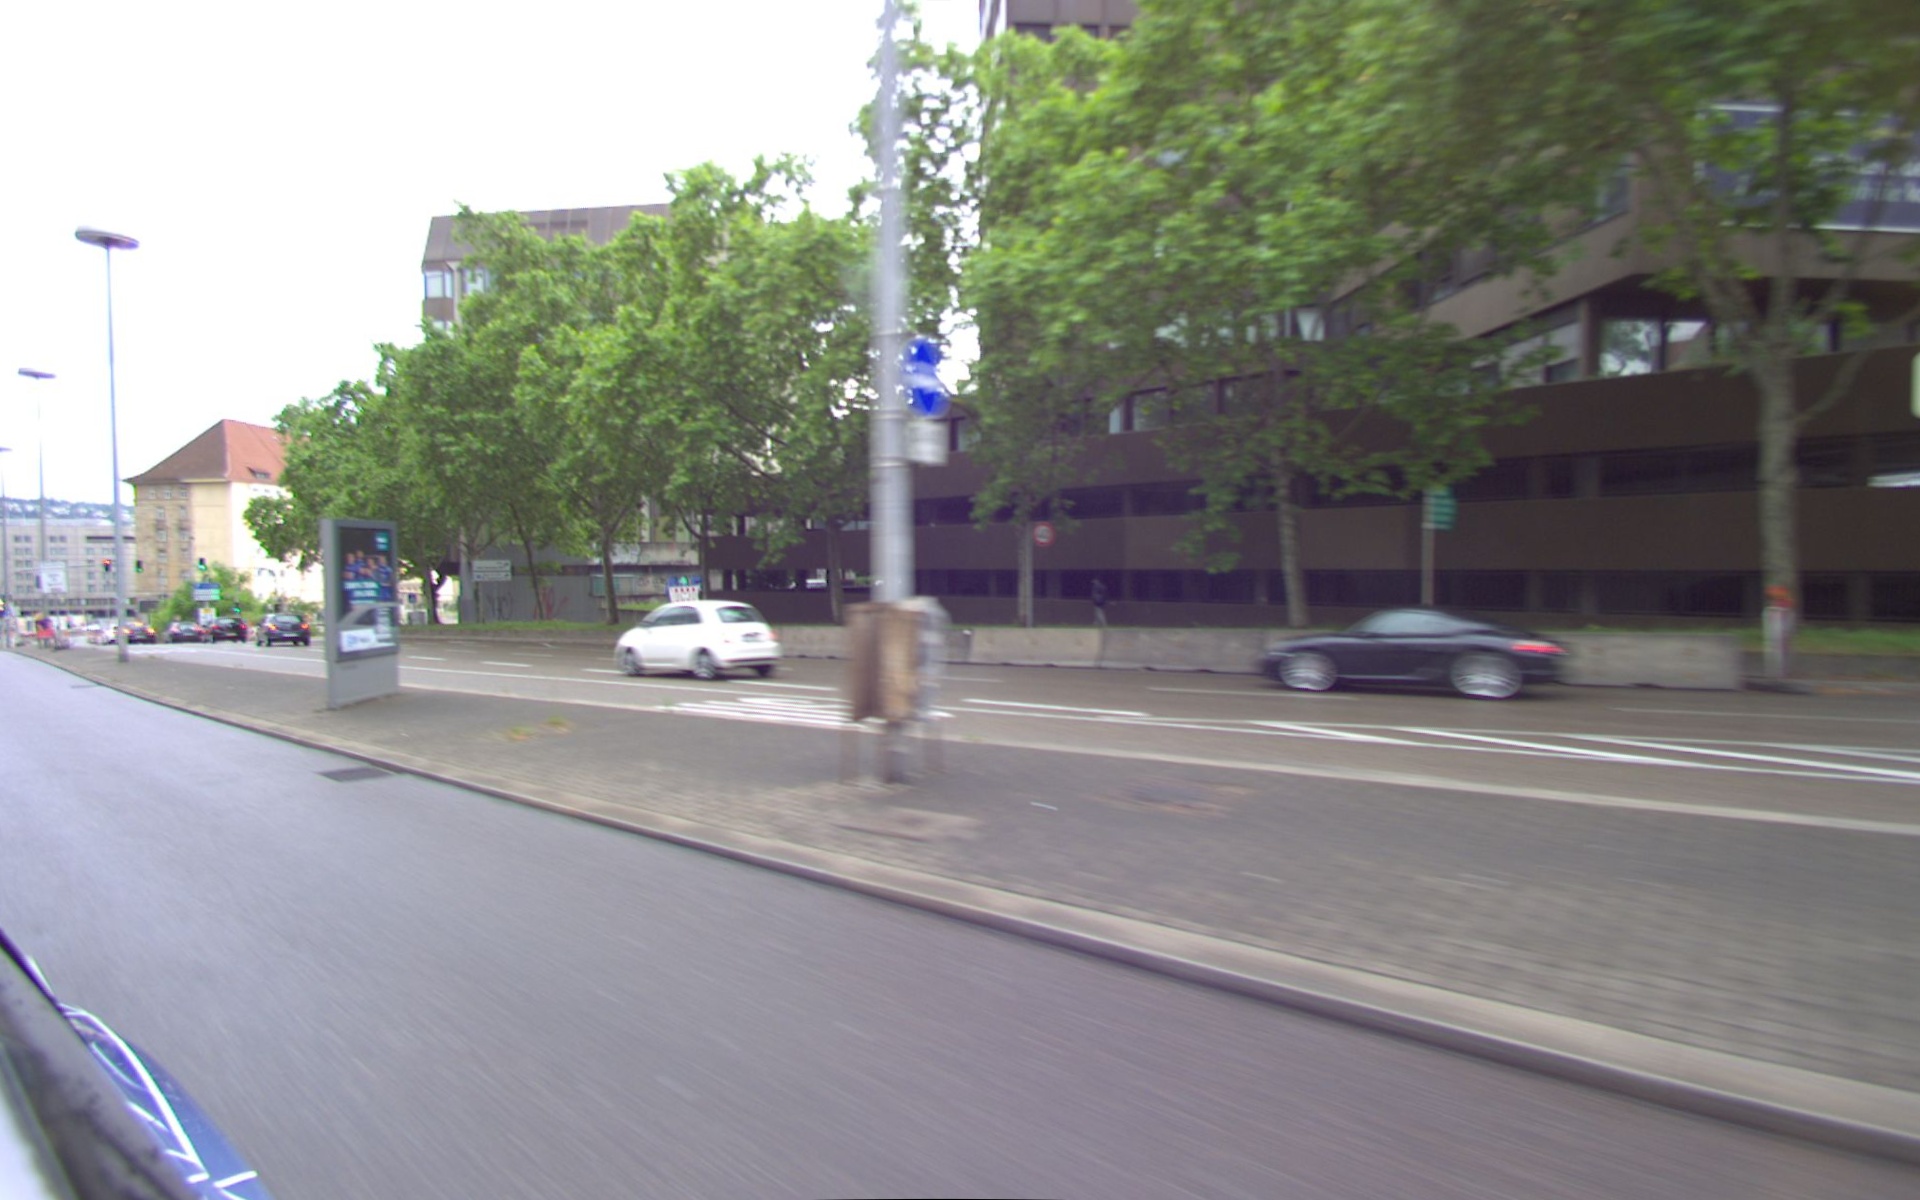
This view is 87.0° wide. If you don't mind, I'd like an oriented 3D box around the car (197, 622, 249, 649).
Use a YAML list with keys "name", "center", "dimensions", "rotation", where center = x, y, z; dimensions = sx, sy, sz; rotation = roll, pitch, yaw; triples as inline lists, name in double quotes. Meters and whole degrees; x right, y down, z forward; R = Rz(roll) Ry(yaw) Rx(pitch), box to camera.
- name: "car"
  center: [-42.834, 2.038, 58.777]
  dimensions: [1.911, 1.447, 4.079]
  rotation: [0, -1, -44]

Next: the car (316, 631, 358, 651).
- name: "car"
  center: [-51.114, 3.366, 83.031]
  dimensions: [4.507, 1.511, 1.912]
  rotation: [-2, -1, 44]

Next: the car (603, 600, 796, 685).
- name: "car"
  center: [-5.154, 0.783, 19.864]
  dimensions: [3.734, 1.530, 1.737]
  rotation: [-1, -1, 37]

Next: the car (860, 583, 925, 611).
- name: "car"
  center: [-4.375, -0.156, 65.242]
  dimensions: [3.997, 1.730, 1.973]
  rotation: [-1, -1, 41]

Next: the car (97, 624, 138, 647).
- name: "car"
  center: [-58.455, 2.410, 70.205]
  dimensions: [3.865, 1.497, 1.774]
  rotation: [-1, -1, 44]

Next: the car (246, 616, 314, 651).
- name: "car"
  center: [-31.375, 1.545, 46.647]
  dimensions: [1.911, 1.511, 4.176]
  rotation: [0, -2, -44]

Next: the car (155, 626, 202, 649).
- name: "car"
  center: [-52.707, 2.500, 68.237]
  dimensions: [4.507, 1.447, 1.912]
  rotation: [-2, -1, 44]

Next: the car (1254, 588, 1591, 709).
- name: "car"
  center: [6.659, 0.648, 14.831]
  dimensions: [4.168, 1.530, 1.735]
  rotation: [-1, -1, 41]

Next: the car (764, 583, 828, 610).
- name: "car"
  center: [-11.125, -0.231, 68.756]
  dimensions: [3.931, 1.730, 2.006]
  rotation: [-1, -1, -21]

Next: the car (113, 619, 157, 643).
- name: "car"
  center: [-53.549, 1.986, 65.673]
  dimensions: [3.865, 1.497, 1.774]
  rotation: [-1, 0, 44]

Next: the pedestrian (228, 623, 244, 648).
- name: "pedestrian"
  center: [-58.726, 2.853, 82.067]
  dimensions: [0.657, 2.029, 0.807]
  rotation: [-1, -1, 13]
